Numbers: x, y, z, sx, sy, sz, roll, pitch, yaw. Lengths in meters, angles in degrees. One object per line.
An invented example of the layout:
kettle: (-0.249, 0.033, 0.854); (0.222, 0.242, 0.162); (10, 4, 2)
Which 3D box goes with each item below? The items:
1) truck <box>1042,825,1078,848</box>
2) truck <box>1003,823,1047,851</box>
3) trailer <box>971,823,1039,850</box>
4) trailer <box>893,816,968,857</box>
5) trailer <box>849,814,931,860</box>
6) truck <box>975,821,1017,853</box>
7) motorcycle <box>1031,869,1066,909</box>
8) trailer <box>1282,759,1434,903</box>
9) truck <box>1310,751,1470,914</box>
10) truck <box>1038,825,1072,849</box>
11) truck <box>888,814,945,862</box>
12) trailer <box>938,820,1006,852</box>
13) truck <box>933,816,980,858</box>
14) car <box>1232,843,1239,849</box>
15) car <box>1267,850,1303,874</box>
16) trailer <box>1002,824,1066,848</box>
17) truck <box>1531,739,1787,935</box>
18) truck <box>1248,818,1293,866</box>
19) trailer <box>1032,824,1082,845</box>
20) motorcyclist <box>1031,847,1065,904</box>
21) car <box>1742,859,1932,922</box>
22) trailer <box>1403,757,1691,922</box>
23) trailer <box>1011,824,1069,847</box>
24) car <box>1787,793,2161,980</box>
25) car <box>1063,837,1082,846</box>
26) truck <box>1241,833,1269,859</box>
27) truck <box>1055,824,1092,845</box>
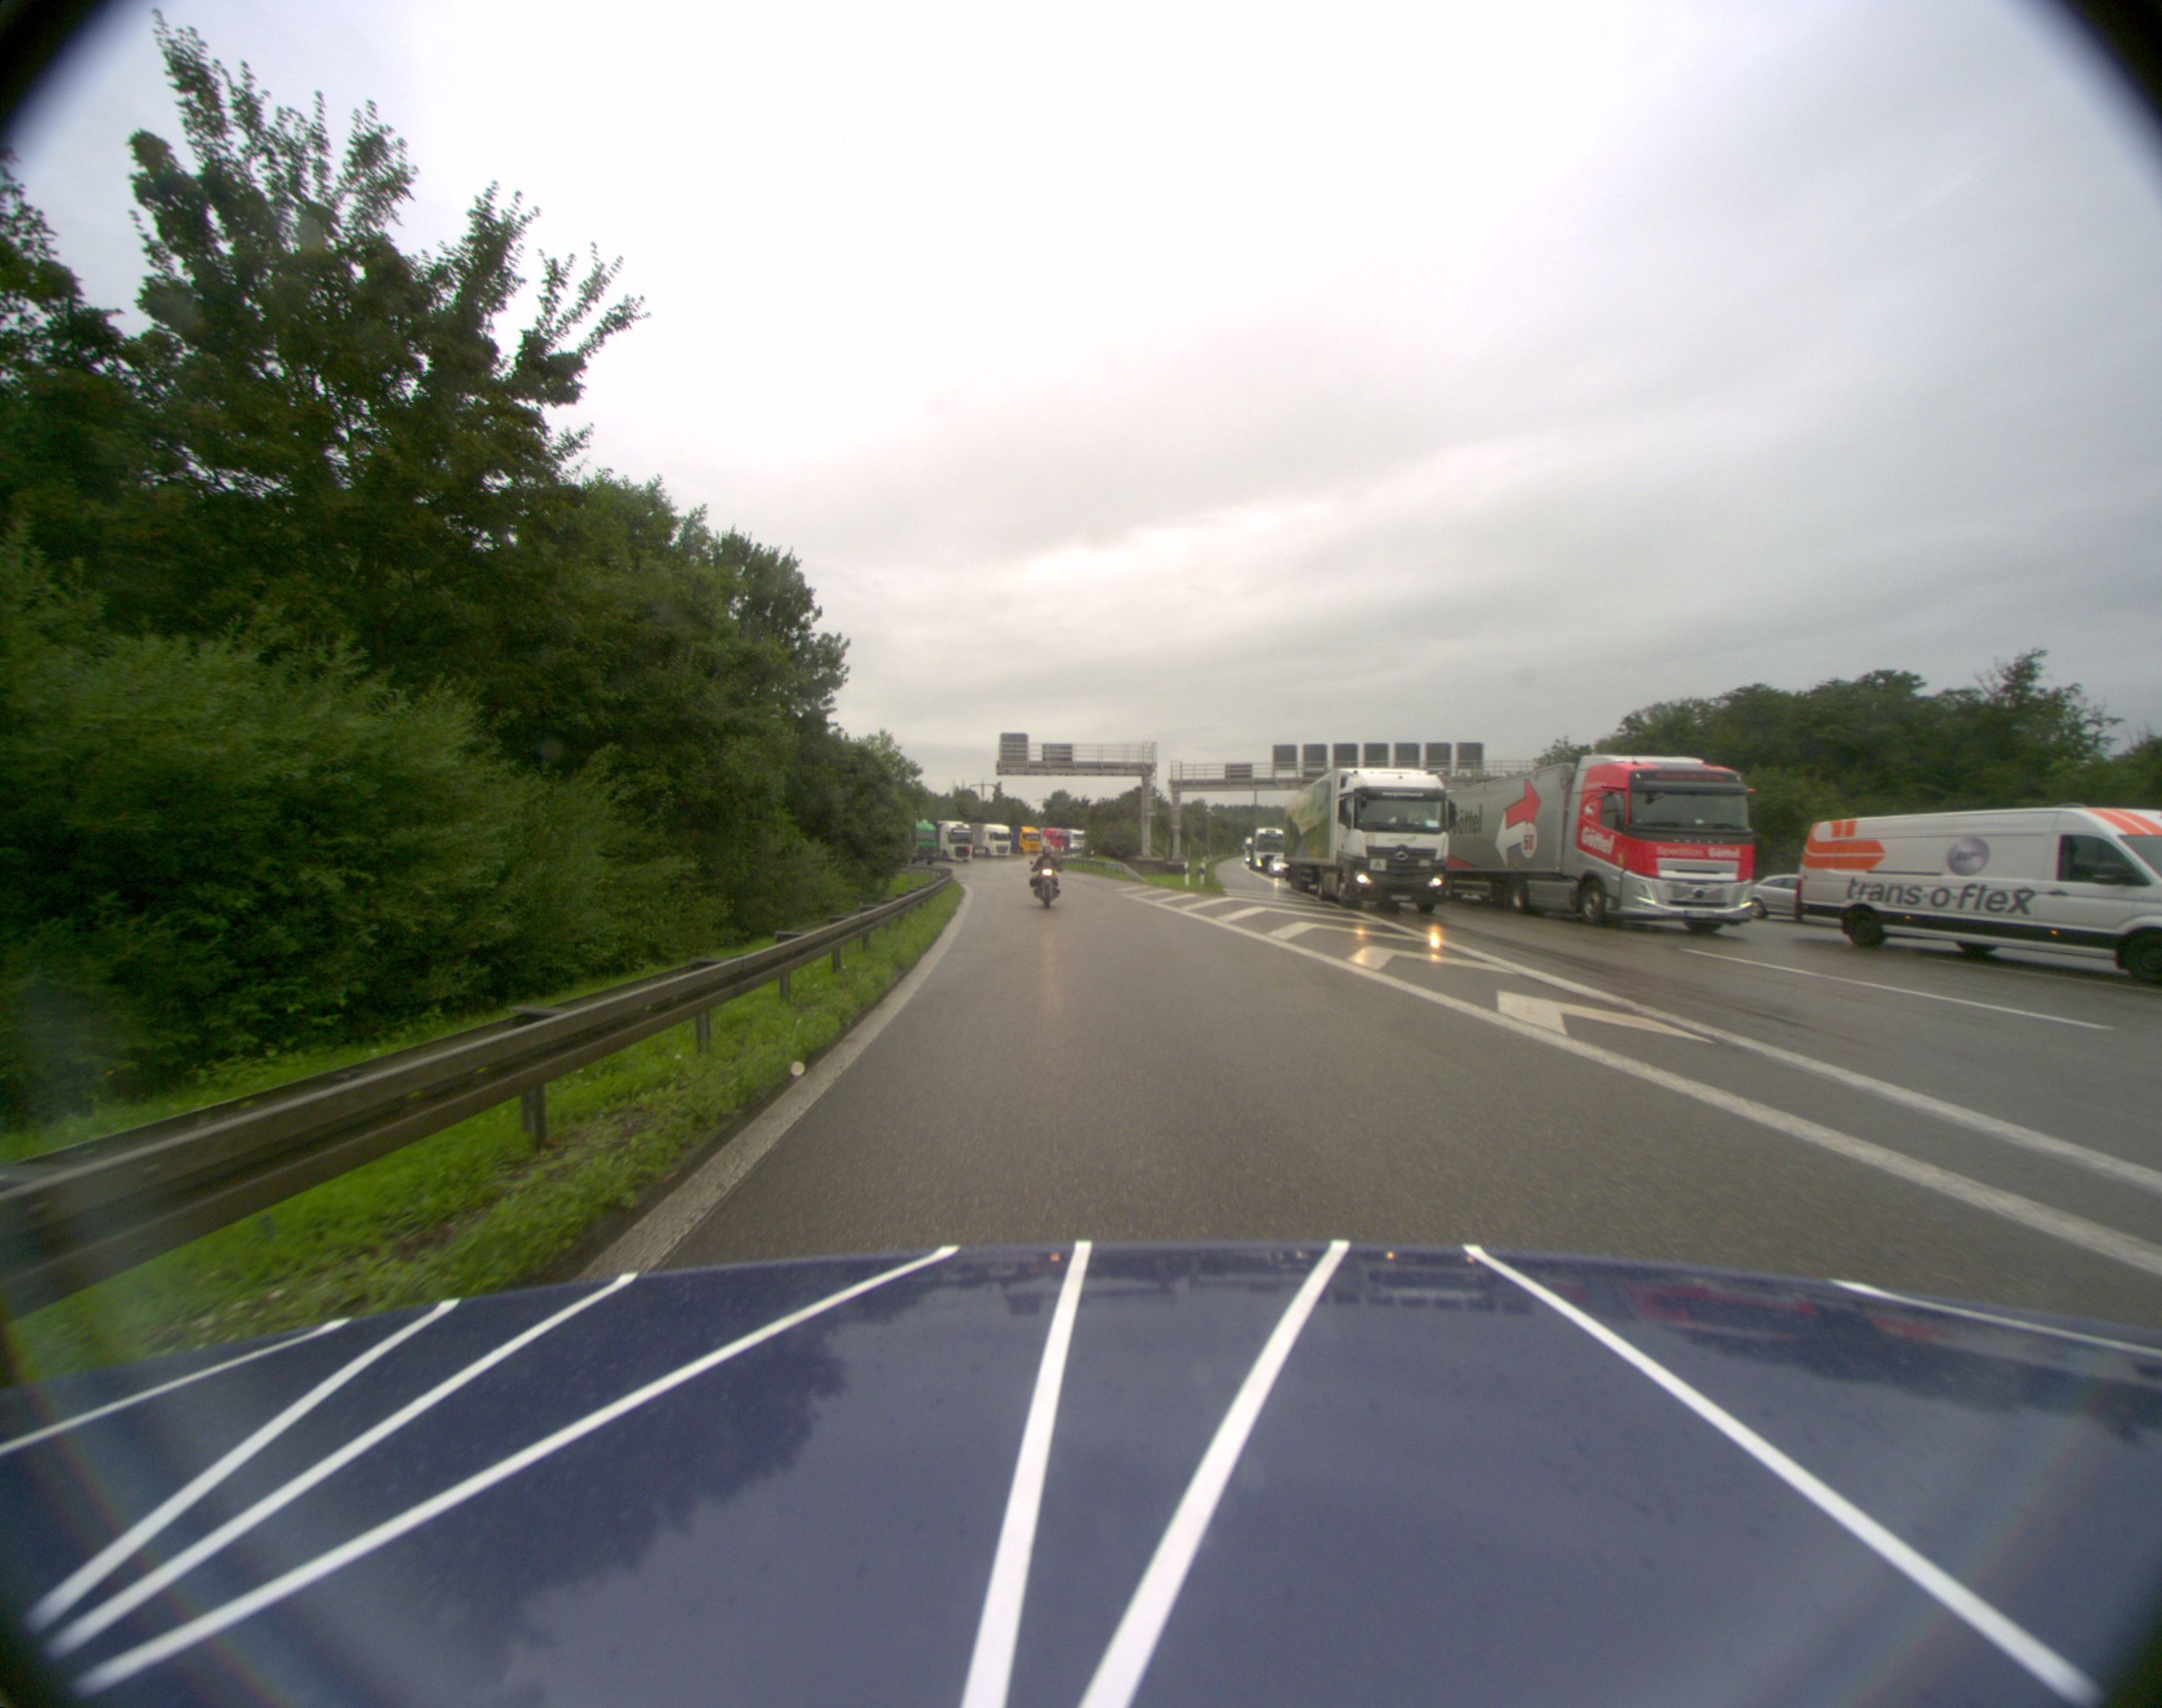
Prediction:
truck: (-3.601, -3.041, 130.127); (2.905, 3.897, 6.536); (0, 2, -37)
truck: (-8.373, -2.516, 111.877); (2.845, 3.897, 8.107); (0, 2, -33)
trailer: (-12.040, -2.858, 117.435); (2.874, 3.897, 16.586); (0, 2, -34)
trailer: (-16.929, -2.071, 84.248); (2.832, 4.148, 13.954); (-1, 2, -34)
trailer: (-18.979, -1.784, 74.527); (2.832, 4.127, 13.926); (-1, 3, -36)
truck: (-10.509, -2.094, 93.562); (2.836, 3.891, 5.395); (0, 2, -35)
motorcycle: (-0.960, 0.977, 21.800); (0.878, 1.016, 2.351); (1, 1, -5)
trailer: (9.853, -0.805, 28.961); (2.923, 4.181, 13.644); (1, 1, 10)
truck: (8.806, -0.613, 22.588); (2.923, 4.076, 6.723); (1, 1, 9)
truck: (-4.298, -2.859, 125.229); (3.252, 3.897, 5.007); (0, 2, -37)
truck: (-14.981, -1.518, 68.886); (2.832, 4.127, 5.980); (-1, 3, -36)
trailer: (-14.515, -2.405, 99.360); (2.850, 3.897, 13.914); (0, 2, -35)
truck: (-12.871, -1.775, 78.263); (2.832, 4.123, 5.287); (-1, 3, -34)
car: (43.613, -2.232, 214.054); (1.817, 1.747, 4.689); (1, 1, 11)
car: (14.364, 0.526, 53.630); (1.931, 1.514, 4.765); (1, 1, 9)
trailer: (-8.350, -3.133, 130.599); (3.252, 3.897, 14.787); (0, 2, -37)
truck: (12.821, -0.369, 17.401); (2.632, 3.842, 4.591); (1, 1, 8)
truck: (18.069, -1.259, 73.078); (3.352, 4.048, 12.579); (-2, 2, 11)
trailer: (-5.193, -4.117, 159.026); (3.252, 4.068, 13.493); (0, 2, -37)
motorcyclist: (-0.949, 0.589, 21.666); (0.878, 1.559, 1.372); (1, 1, -5)
car: (21.381, 0.948, 21.747); (1.804, 1.556, 4.002); (1, 1, 8)
trailer: (13.881, -0.413, 24.790); (2.632, 3.842, 13.683); (1, 1, 8)
trailer: (-7.452, -3.323, 135.248); (2.882, 3.897, 13.894); (0, 2, -37)
car: (15.801, 0.423, 12.605); (2.152, 2.474, 7.369); (1, 1, 9)
car: (-1.628, -2.457, 148.179); (1.852, 1.848, 3.988); (-1, 2, -35)
truck: (27.594, -1.407, 120.837); (3.534, 3.826, 9.440); (-2, 2, 10)
truck: (-1.574, -3.920, 154.220); (3.252, 4.068, 7.915); (0, 2, -37)
